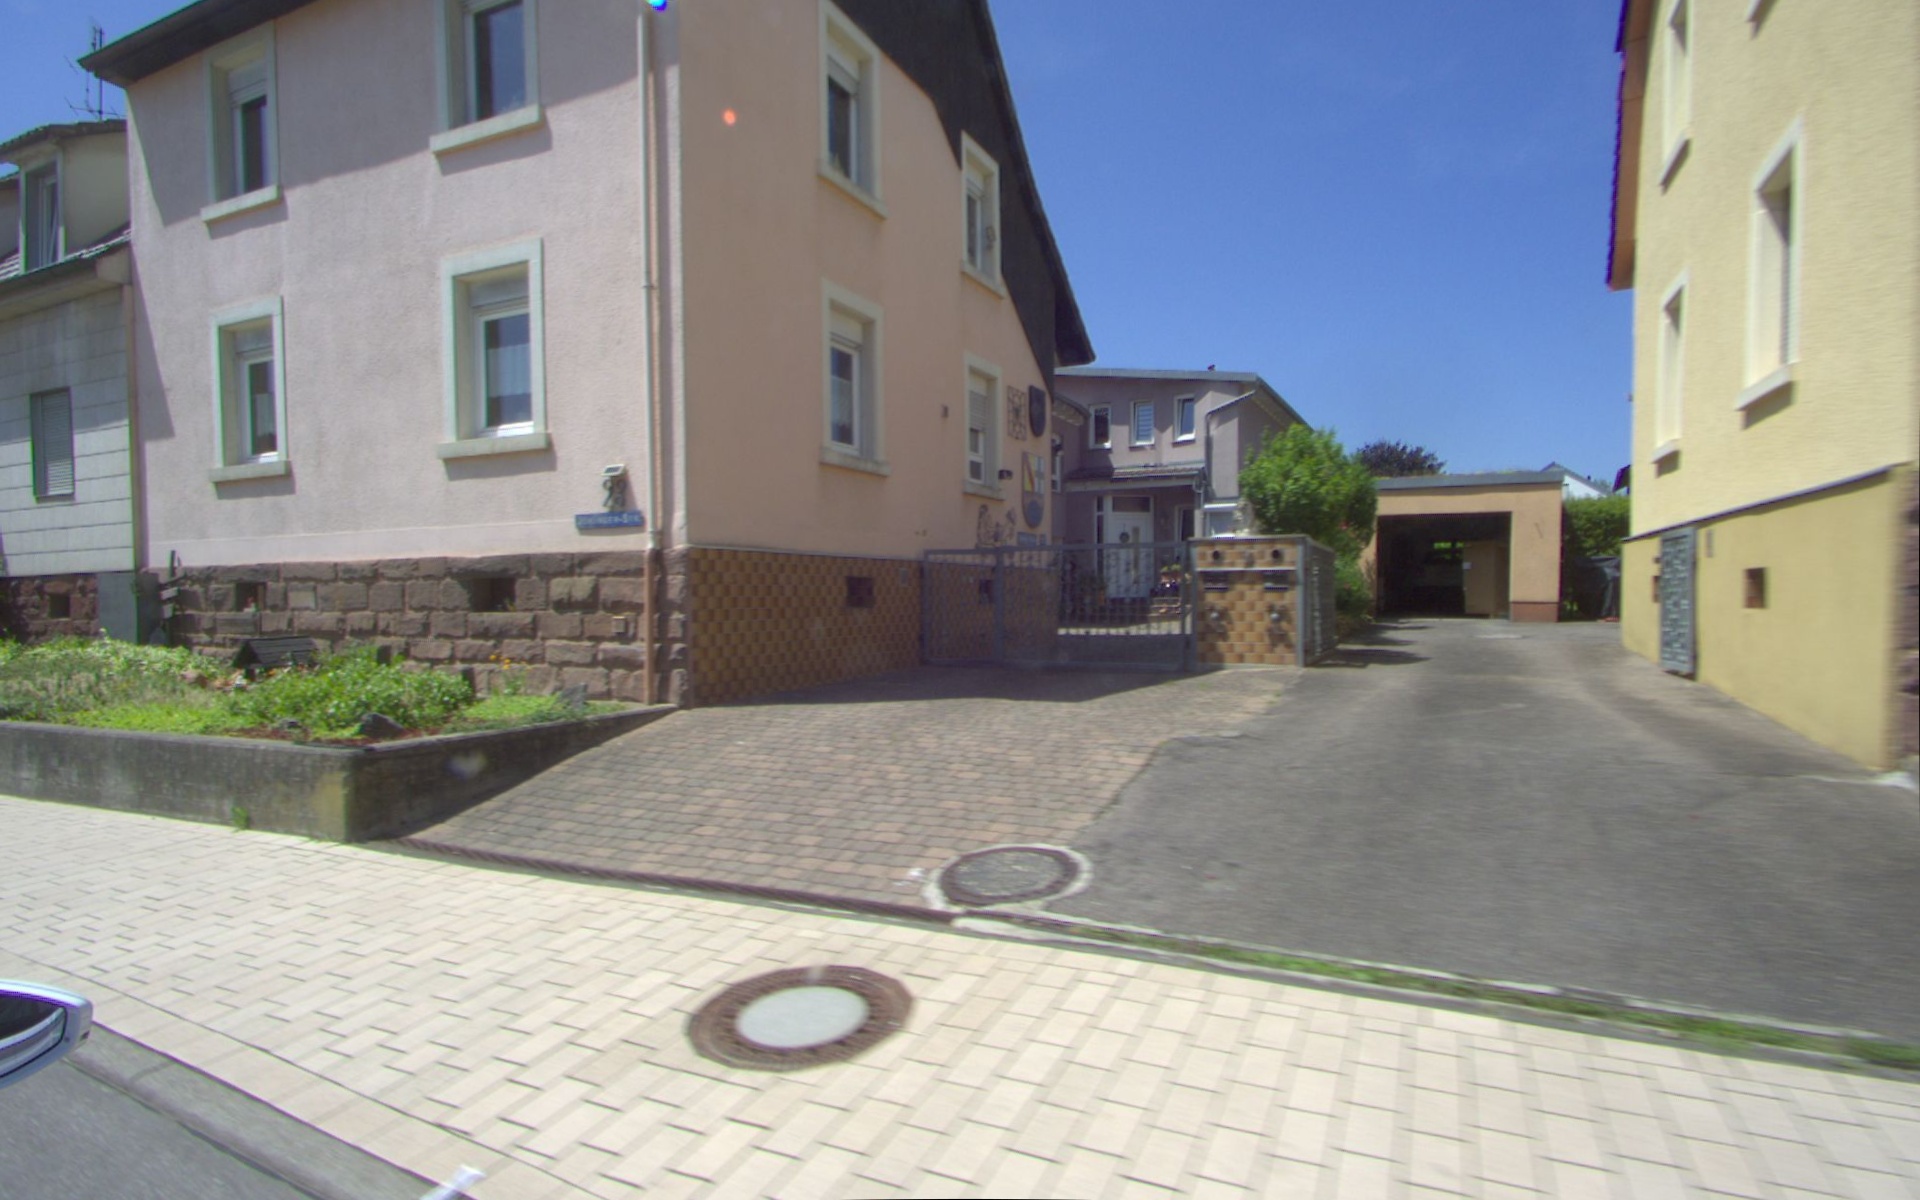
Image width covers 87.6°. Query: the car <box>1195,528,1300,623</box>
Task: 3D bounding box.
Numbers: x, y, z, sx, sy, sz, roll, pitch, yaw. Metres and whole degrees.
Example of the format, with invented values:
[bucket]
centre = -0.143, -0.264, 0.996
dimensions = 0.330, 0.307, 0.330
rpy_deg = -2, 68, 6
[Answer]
[car]
centre = 6.258, -0.600, 21.546
dimensions = 1.522, 1.810, 3.884
rpy_deg = 0, 4, 26
